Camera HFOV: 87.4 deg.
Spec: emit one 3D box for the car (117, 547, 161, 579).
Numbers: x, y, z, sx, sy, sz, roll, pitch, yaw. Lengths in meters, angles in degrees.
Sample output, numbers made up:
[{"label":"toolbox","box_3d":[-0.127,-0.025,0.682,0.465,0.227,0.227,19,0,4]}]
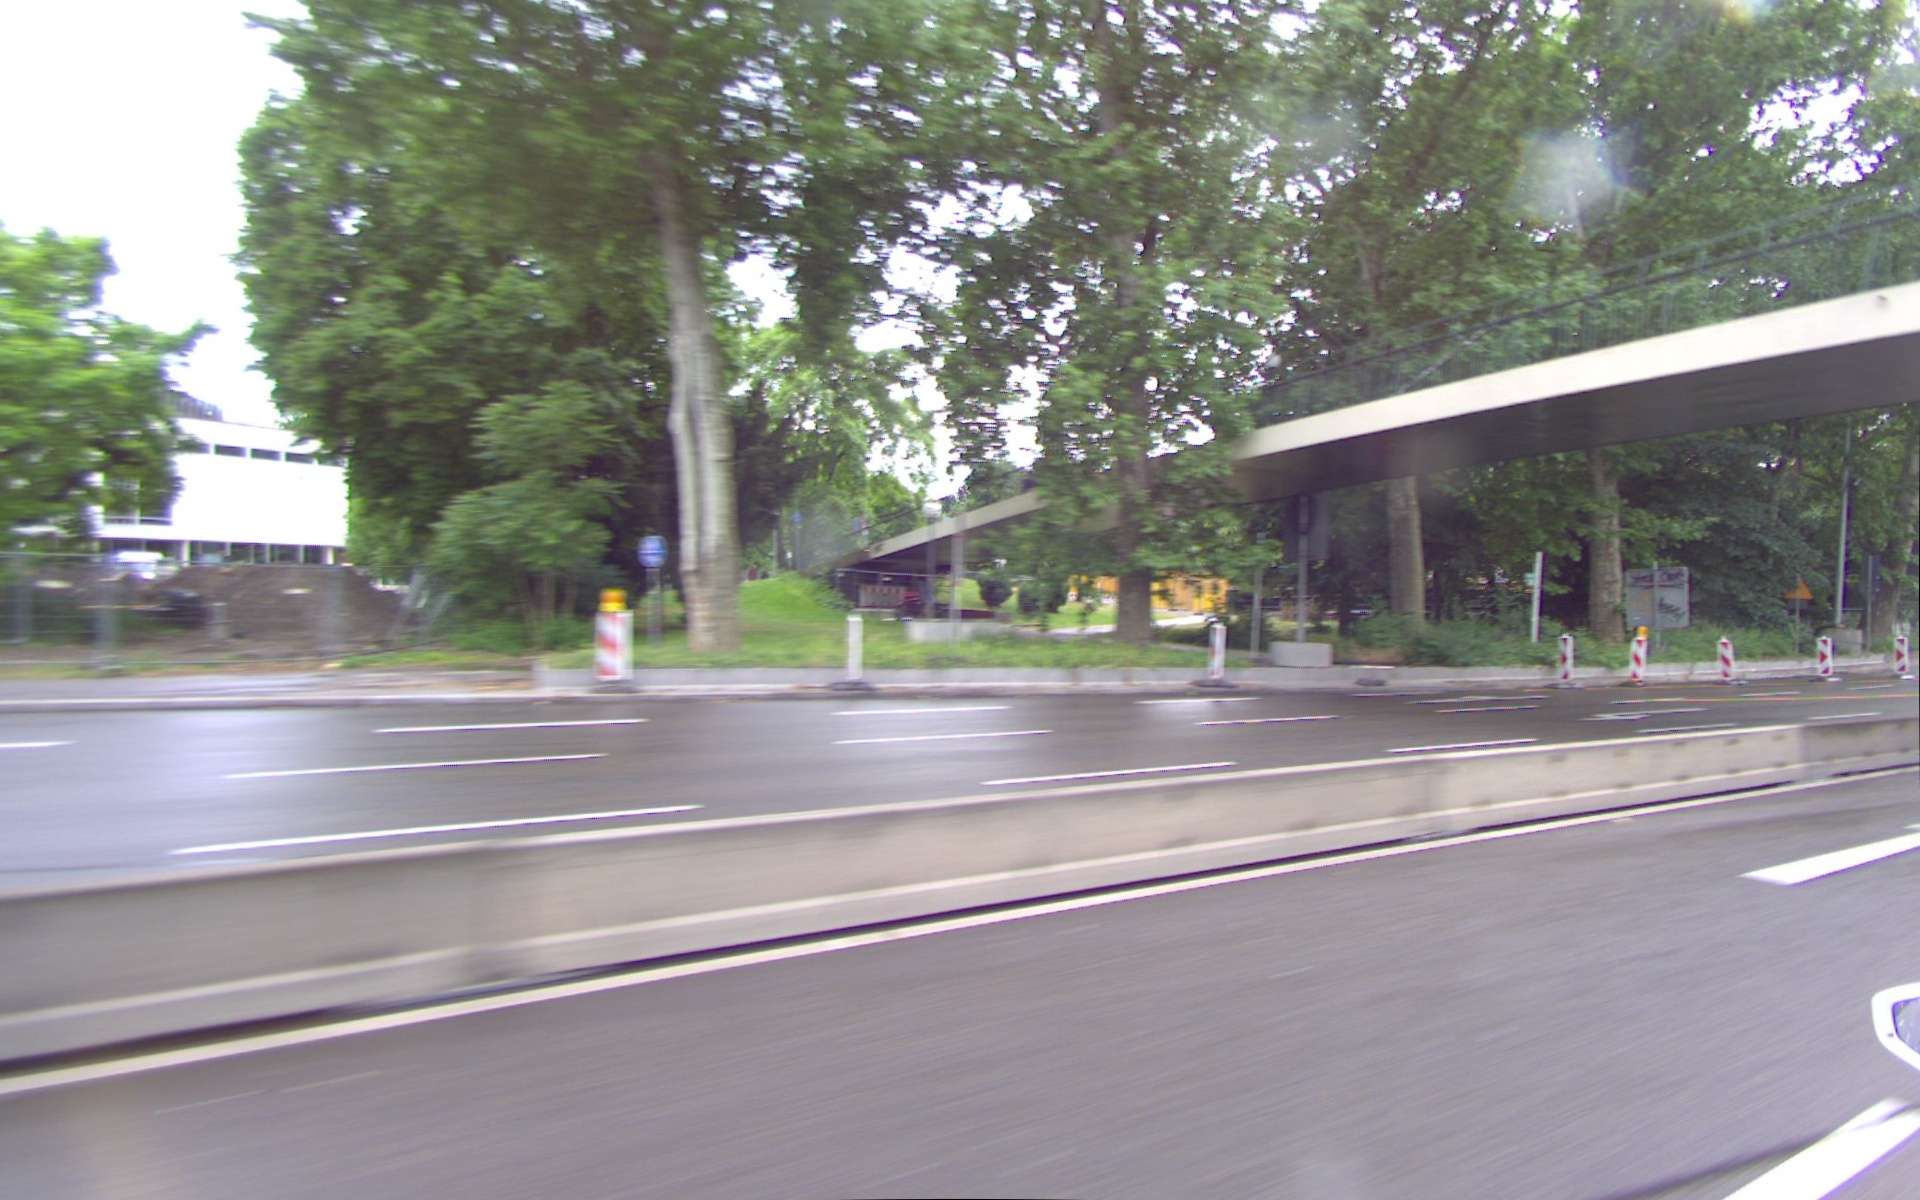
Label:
[{"label":"car","box_3d":[-51.788,-2.328,63.424,1.699,1.816,3.962,4,0,-34]}]
